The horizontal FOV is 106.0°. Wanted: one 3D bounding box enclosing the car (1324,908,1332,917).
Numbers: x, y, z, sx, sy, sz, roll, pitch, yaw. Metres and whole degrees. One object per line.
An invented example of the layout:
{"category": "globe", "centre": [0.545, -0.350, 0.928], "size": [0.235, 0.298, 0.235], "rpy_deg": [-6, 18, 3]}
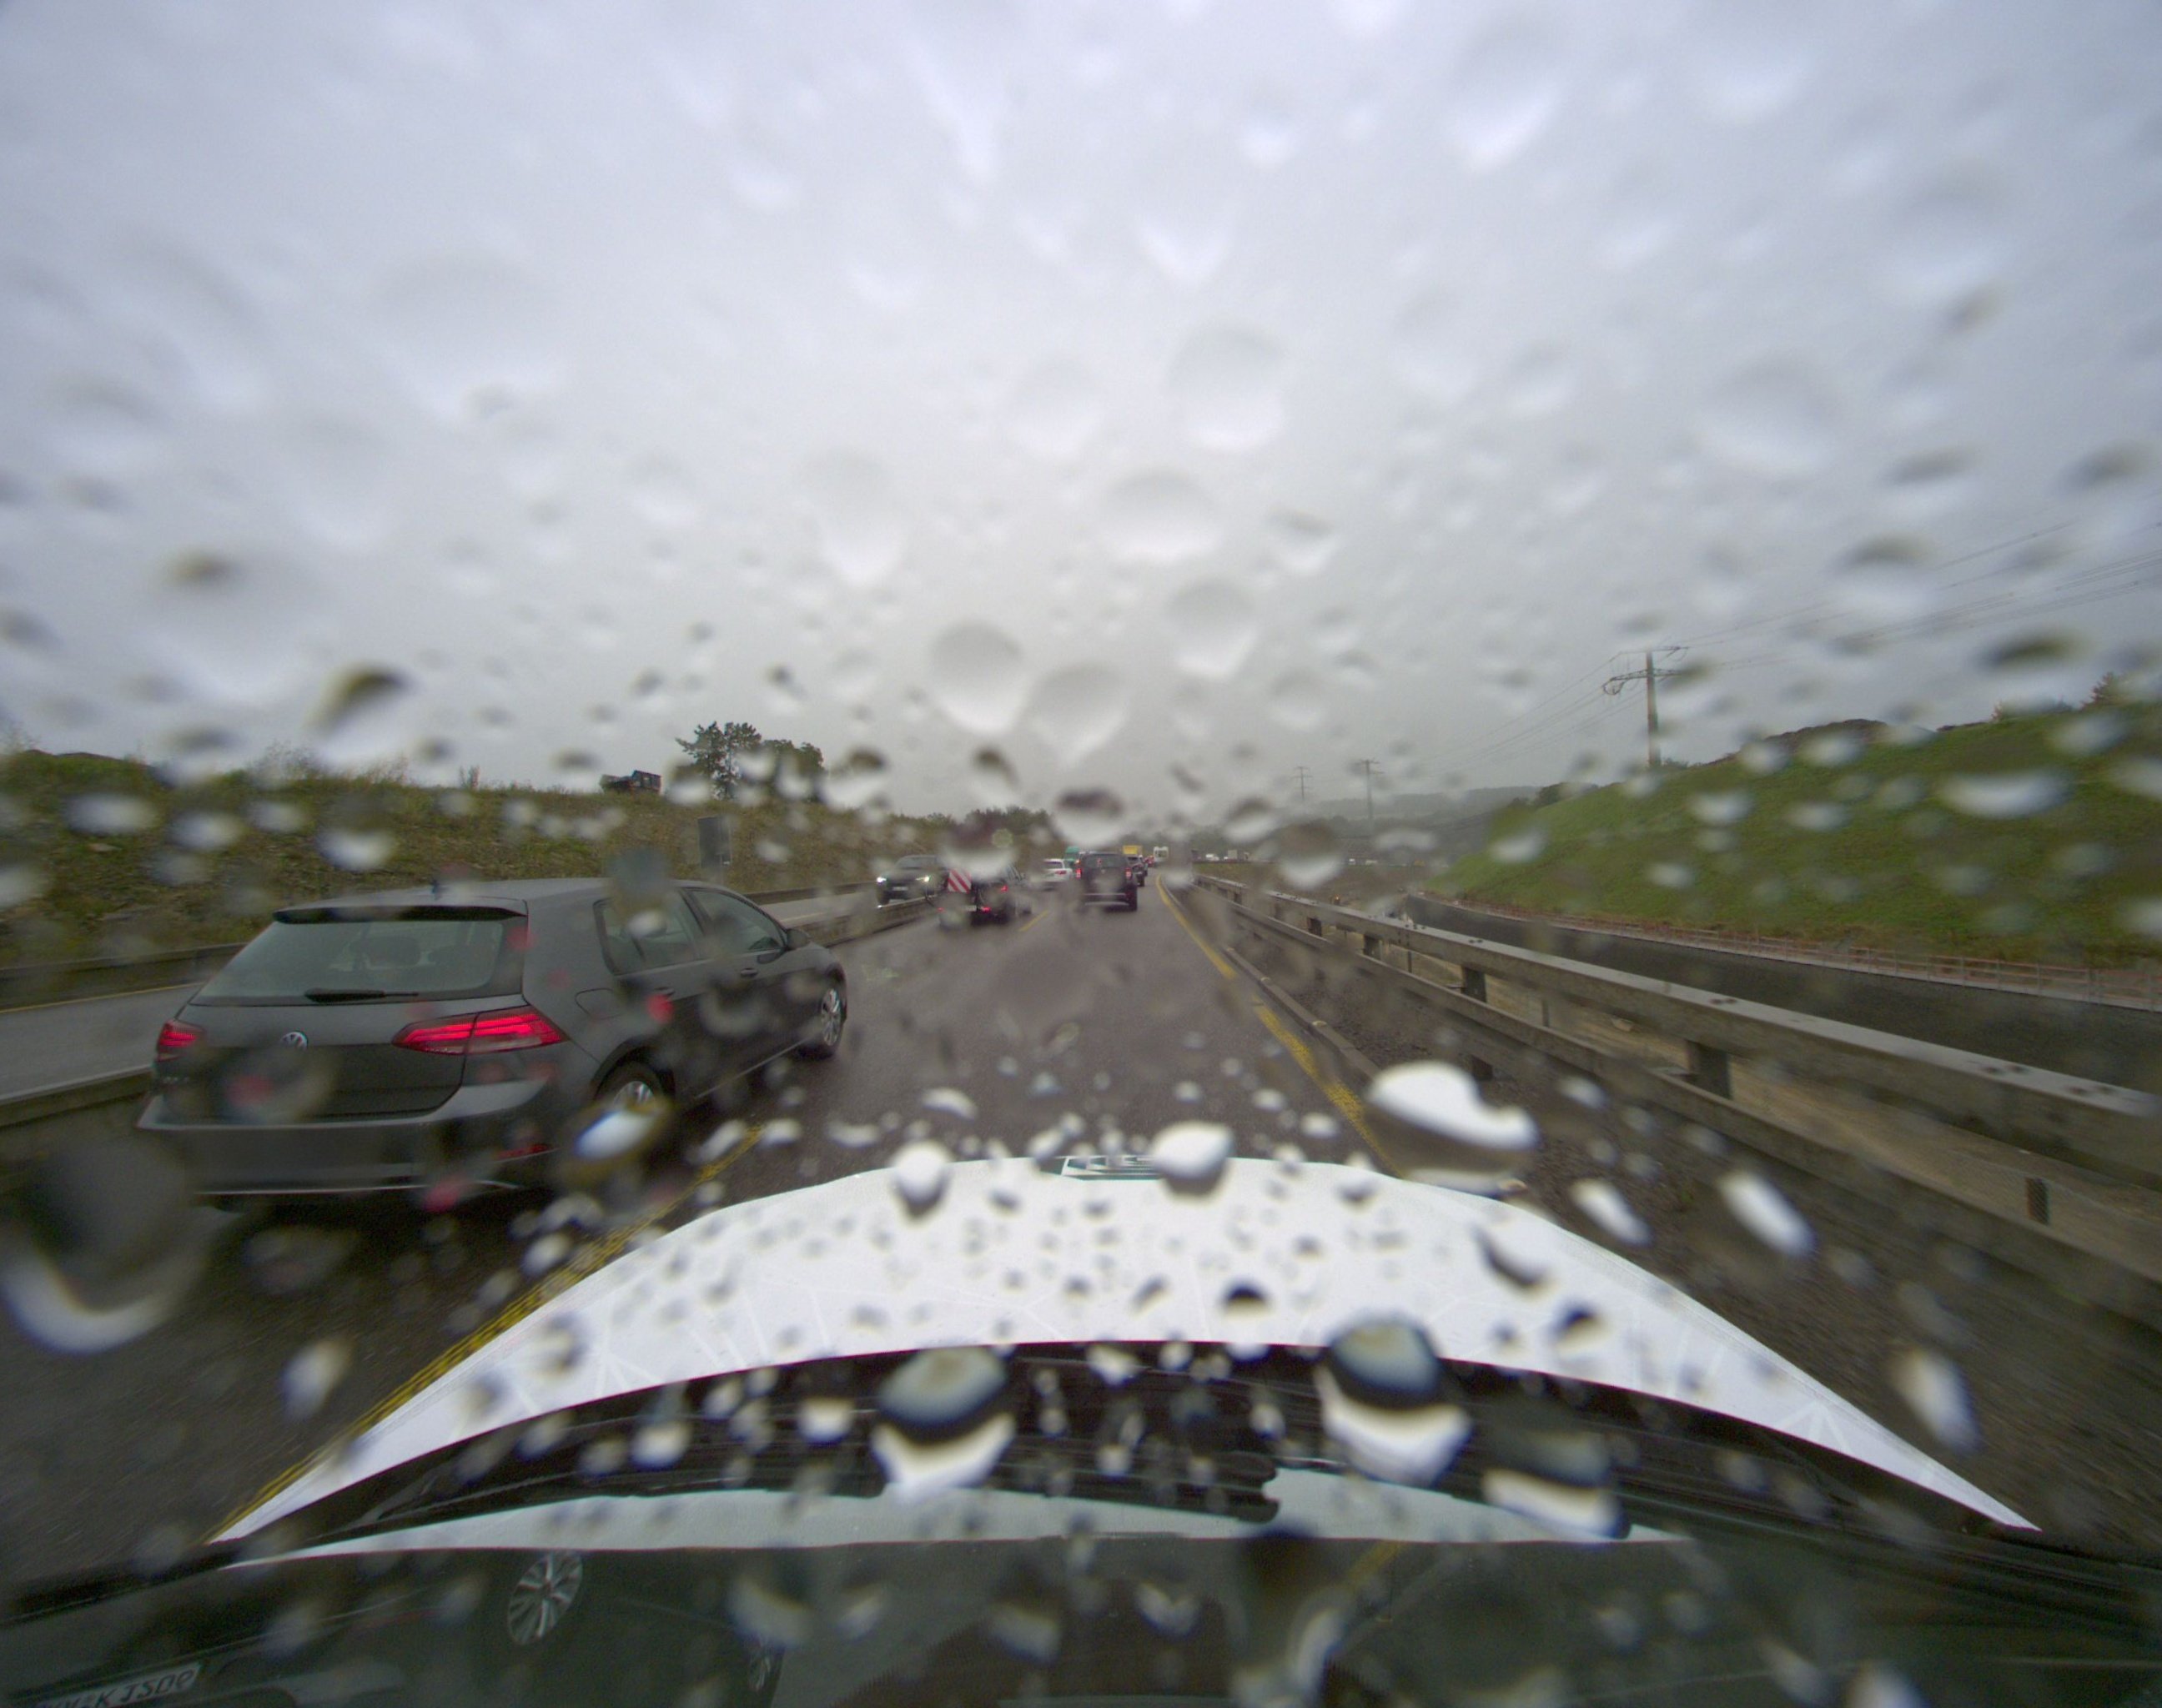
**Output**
{"category": "car", "centre": [69.084, 16.397, 228.034], "size": [1.977, 2.013, 4.020], "rpy_deg": [0, 0, 20]}

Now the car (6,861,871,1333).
{"category": "car", "centre": [-2.736, 0.838, 4.925], "size": [1.608, 1.506, 4.370], "rpy_deg": [-2, 0, 2]}

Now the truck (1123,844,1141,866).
{"category": "truck", "centre": [9.727, 0.117, 153.387], "size": [2.753, 3.996, 8.441], "rpy_deg": [-1, 0, 8]}

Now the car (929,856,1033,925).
{"category": "car", "centre": [-2.301, 0.812, 19.697], "size": [1.821, 1.476, 3.779], "rpy_deg": [-1, 0, 3]}

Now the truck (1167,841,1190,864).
{"category": "truck", "centre": [16.096, -0.214, 134.085], "size": [3.181, 3.761, 8.533], "rpy_deg": [0, 0, 10]}

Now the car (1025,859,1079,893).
{"category": "car", "centre": [-1.278, 0.951, 37.813], "size": [1.858, 1.460, 4.556], "rpy_deg": [0, 0, 6]}

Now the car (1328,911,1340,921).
{"category": "car", "centre": [56.144, 13.771, 181.003], "size": [1.982, 1.816, 4.010], "rpy_deg": [-1, -1, 9]}

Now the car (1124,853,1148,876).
{"category": "car", "centre": [4.080, 0.785, 60.841], "size": [1.525, 1.640, 4.013], "rpy_deg": [0, 0, 1]}

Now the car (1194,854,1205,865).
{"category": "car", "centre": [21.090, 0.979, 144.797], "size": [1.764, 1.916, 4.012], "rpy_deg": [0, 0, 10]}

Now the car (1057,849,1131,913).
{"category": "car", "centre": [0.446, 0.713, 23.176], "size": [1.796, 1.646, 3.782], "rpy_deg": [-1, 0, 5]}

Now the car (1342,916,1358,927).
{"category": "car", "centre": [53.804, 13.521, 163.117], "size": [2.352, 2.013, 4.008], "rpy_deg": [0, 0, 7]}

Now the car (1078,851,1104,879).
{"category": "car", "centre": [0.755, 0.760, 58.480], "size": [1.653, 1.880, 4.023], "rpy_deg": [0, 0, 3]}

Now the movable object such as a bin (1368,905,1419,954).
{"category": "movable object such as a bin", "centre": [28.127, 6.768, 73.513], "size": [3.199, 3.867, 4.128], "rpy_deg": [1, 1, 4]}

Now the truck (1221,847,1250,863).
{"category": "truck", "centre": [43.617, 0.319, 228.804], "size": [4.676, 4.150, 15.768], "rpy_deg": [0, 0, 23]}

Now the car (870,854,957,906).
{"category": "car", "centre": [-5.708, 0.842, 28.405], "size": [1.804, 1.593, 4.904], "rpy_deg": [-2, 0, 2]}

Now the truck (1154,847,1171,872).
{"category": "truck", "centre": [10.671, 0.718, 106.991], "size": [2.138, 3.166, 6.470], "rpy_deg": [0, 0, 6]}

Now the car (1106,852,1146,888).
{"category": "car", "centre": [2.265, 0.764, 40.340], "size": [1.859, 1.708, 4.004], "rpy_deg": [0, 0, 4]}
